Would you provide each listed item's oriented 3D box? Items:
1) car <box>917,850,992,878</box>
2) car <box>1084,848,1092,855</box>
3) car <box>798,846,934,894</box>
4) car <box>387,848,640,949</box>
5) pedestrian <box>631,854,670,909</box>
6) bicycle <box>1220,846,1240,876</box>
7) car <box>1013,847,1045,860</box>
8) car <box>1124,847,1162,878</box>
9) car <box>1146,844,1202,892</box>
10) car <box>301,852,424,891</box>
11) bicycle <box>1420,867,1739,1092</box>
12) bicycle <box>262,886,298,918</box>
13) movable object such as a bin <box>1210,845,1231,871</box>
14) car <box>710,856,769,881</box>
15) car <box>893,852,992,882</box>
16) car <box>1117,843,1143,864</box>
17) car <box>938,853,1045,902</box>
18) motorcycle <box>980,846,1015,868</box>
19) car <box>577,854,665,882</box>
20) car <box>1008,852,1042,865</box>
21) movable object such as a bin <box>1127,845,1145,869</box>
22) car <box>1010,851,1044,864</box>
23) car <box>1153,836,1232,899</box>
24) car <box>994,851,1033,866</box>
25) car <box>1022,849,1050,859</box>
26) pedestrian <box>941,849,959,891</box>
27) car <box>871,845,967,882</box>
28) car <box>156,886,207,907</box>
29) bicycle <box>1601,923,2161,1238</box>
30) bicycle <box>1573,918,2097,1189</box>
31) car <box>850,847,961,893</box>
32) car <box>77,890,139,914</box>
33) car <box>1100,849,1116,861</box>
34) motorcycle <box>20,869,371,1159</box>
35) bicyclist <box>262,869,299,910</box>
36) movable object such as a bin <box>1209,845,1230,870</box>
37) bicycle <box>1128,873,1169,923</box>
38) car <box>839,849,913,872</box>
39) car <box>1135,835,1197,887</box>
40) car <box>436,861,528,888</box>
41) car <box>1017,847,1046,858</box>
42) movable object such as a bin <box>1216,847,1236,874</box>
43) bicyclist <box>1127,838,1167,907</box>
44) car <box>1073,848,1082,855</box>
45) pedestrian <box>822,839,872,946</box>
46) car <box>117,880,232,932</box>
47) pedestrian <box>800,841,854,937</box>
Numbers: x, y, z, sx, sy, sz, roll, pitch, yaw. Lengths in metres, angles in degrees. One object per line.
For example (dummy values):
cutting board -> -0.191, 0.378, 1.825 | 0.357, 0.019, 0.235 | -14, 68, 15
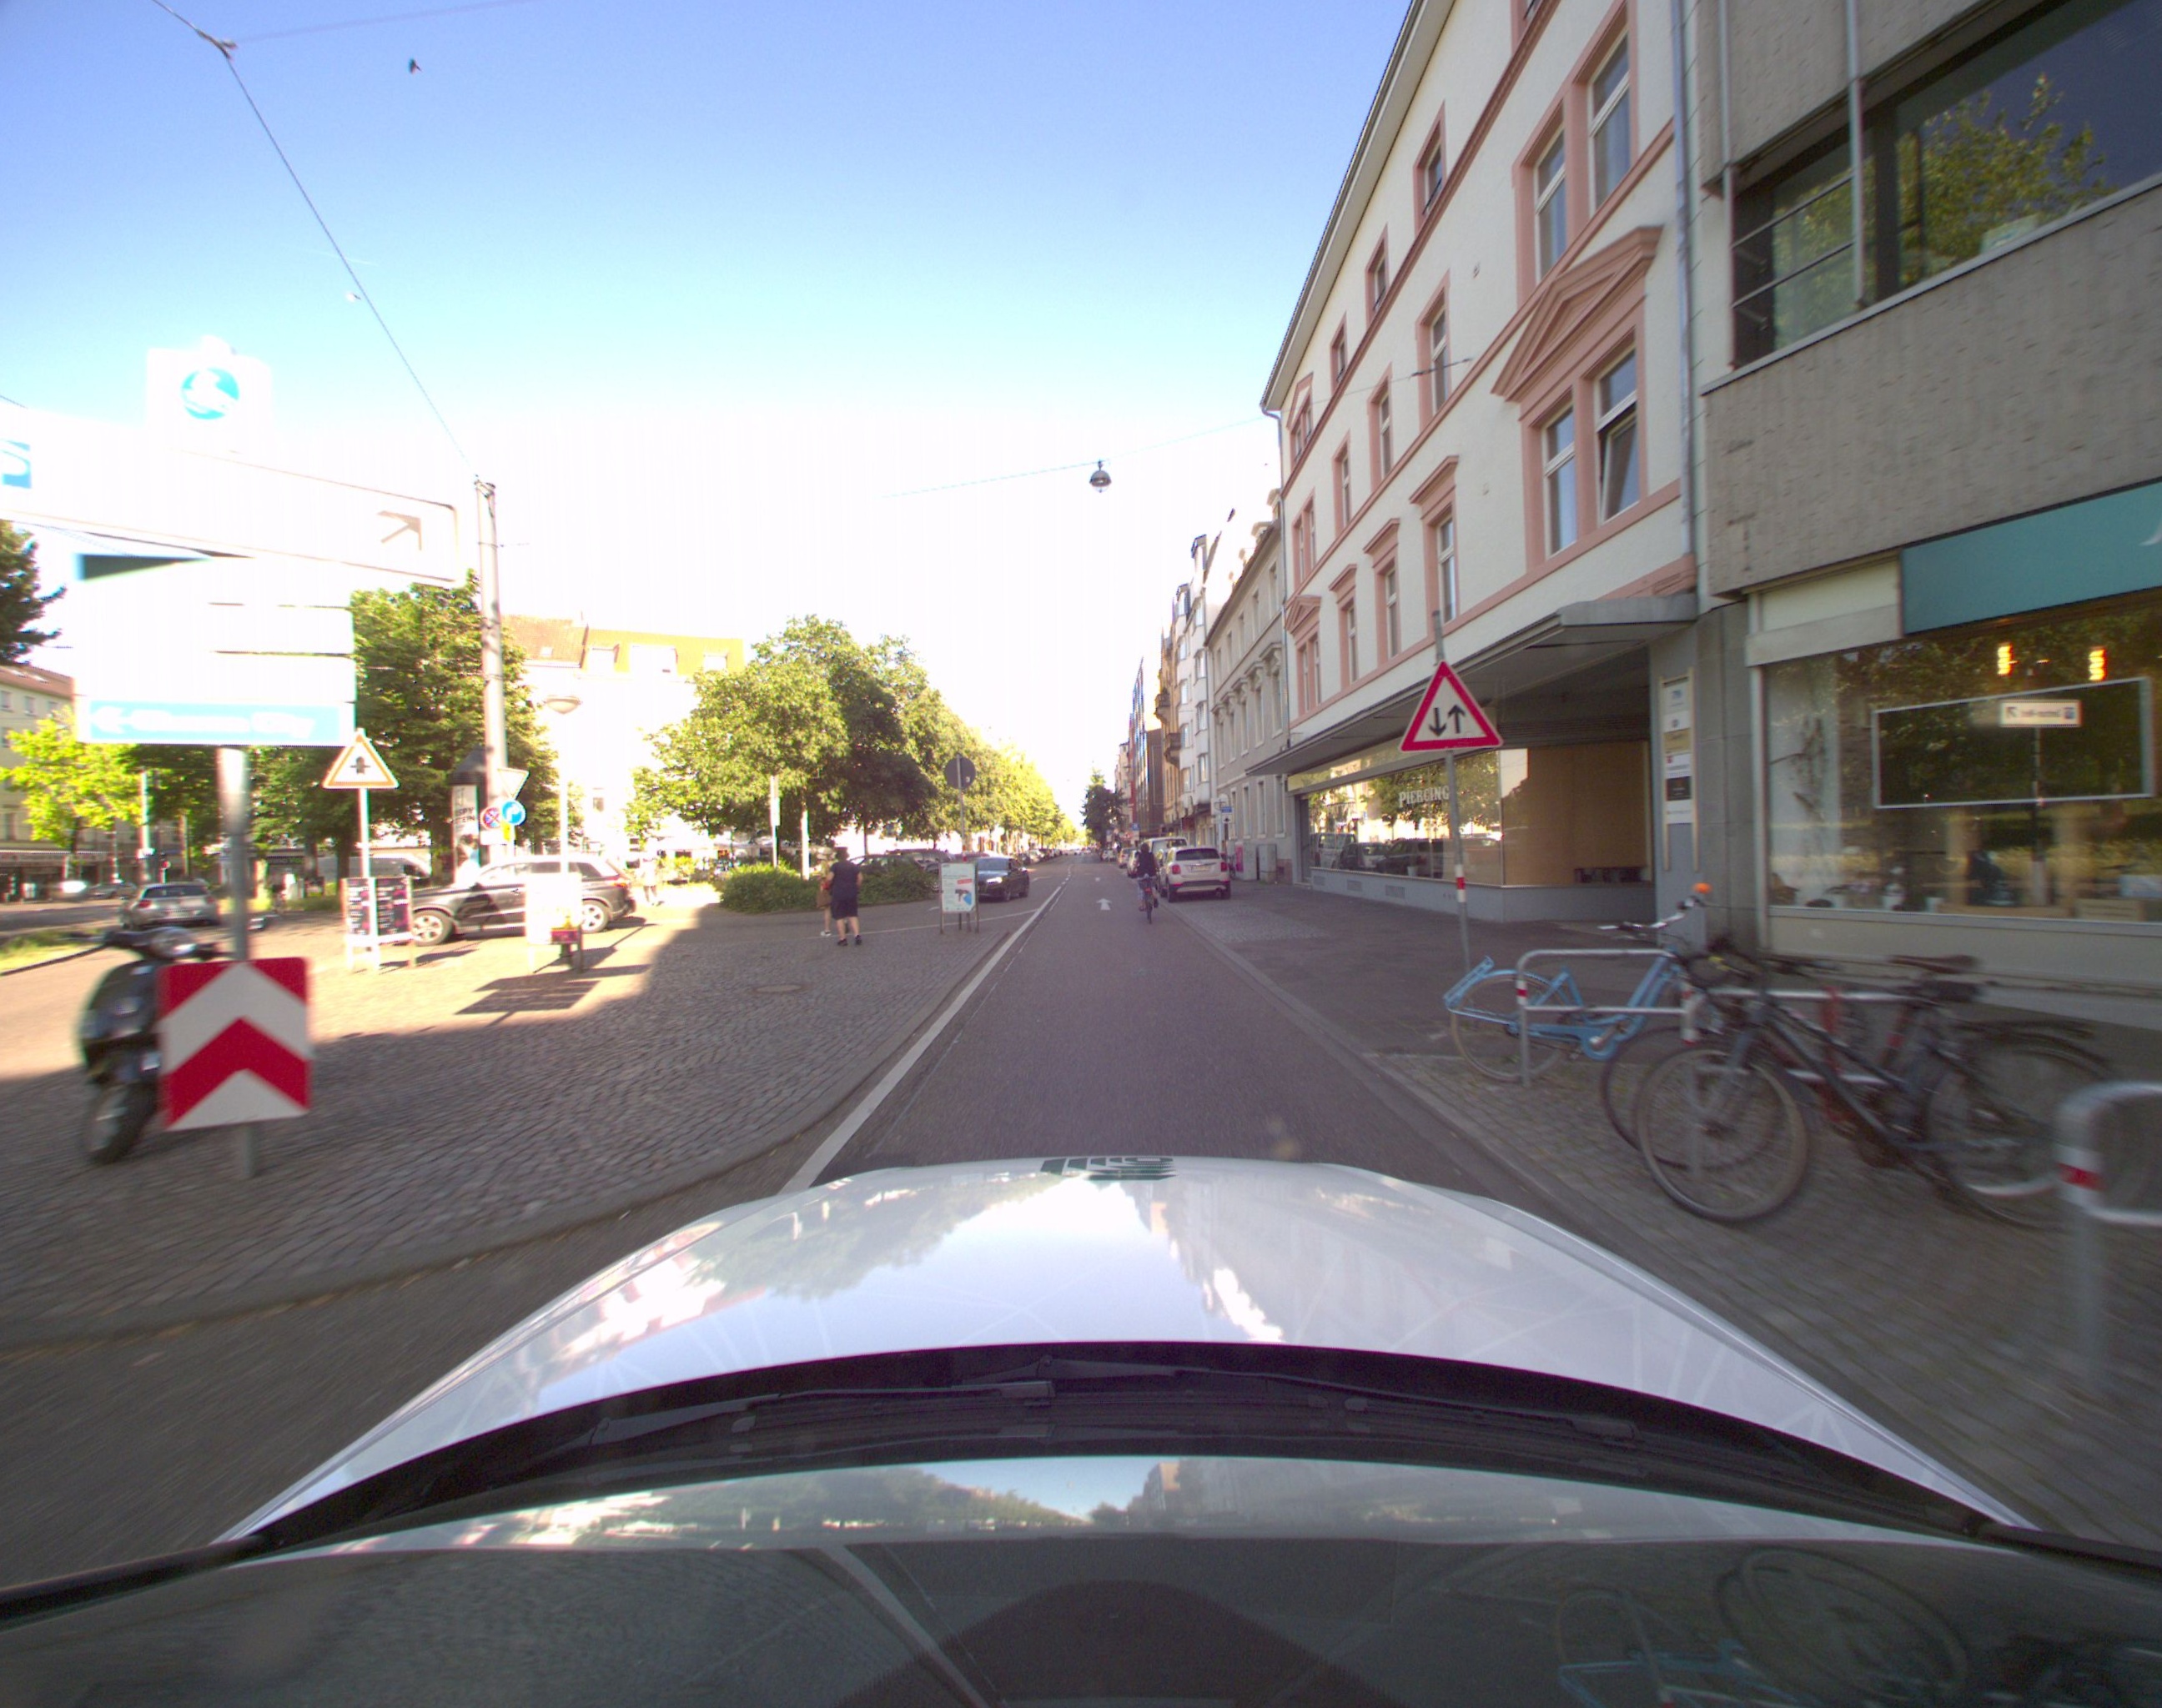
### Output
car -> -7.444, 0.587, 47.868 | 4.012, 1.586, 1.813 | 0, -1, -30
car -> 1.709, -0.580, 205.126 | 1.863, 1.556, 4.001 | 0, 0, 1
car -> -7.137, 0.497, 27.135 | 4.016, 1.470, 1.855 | 0, -1, -35
car -> -10.965, 0.796, 16.087 | 3.883, 1.682, 1.794 | -2, 0, -31
pedestrian -> -12.373, 0.775, 23.406 | 0.774, 1.522, 0.947 | 0, -1, -44
bicycle -> 6.190, 0.288, 33.771 | 0.479, 1.186, 1.728 | -4, -2, 19
car -> -6.948, -0.105, 109.137 | 3.973, 1.674, 2.089 | 0, 0, 1
car -> 3.356, 0.472, 44.375 | 1.713, 1.515, 3.582 | -4, -1, 0
car -> 3.356, 0.487, 30.040 | 1.693, 1.604, 3.757 | -2, -1, 1
car -> -44.374, 1.075, 50.472 | 5.359, 2.314, 1.985 | 0, -1, -23
bicycle -> 3.025, 0.713, 5.135 | 1.608, 1.243, 0.662 | -1, -1, 20
bicycle -> -29.875, 1.762, 30.378 | 2.550, 1.069, 0.817 | -1, -1, 42
movable object such as a bin -> 6.363, 0.180, 37.100 | 0.791, 1.076, 0.661 | -5, -1, 2
car -> -24.816, 1.013, 59.327 | 3.923, 1.771, 1.966 | 0, -1, -23
car -> -7.174, 0.668, 42.221 | 4.853, 1.488, 1.752 | 0, -1, -22
car -> 3.912, -0.023, 65.710 | 1.893, 1.675, 4.824 | 0, 0, 0
car -> -2.749, 0.708, 26.287 | 1.898, 1.417, 4.827 | -1, 0, 13
motorcycle -> -6.467, 0.222, 63.162 | 2.452, 1.604, 1.004 | -2, 0, 18
car -> -34.070, 1.002, 60.555 | 5.605, 2.014, 1.802 | 0, -1, -26
car -> -6.873, 0.550, 99.514 | 3.973, 1.508, 2.000 | 0, 0, 1
movable object such as a bin -> 3.719, 0.201, 55.006 | 1.068, 1.457, 1.495 | -4, 1, 5
car -> -6.697, 0.429, 101.617 | 3.973, 1.508, 2.000 | 0, 0, 1
car -> 3.291, 0.391, 24.915 | 1.739, 1.739, 4.960 | 0, 0, 0
car -> -7.141, 0.451, 86.554 | 3.973, 1.508, 2.000 | 0, 0, 1
car -> -6.617, 0.012, 119.965 | 3.974, 1.508, 2.000 | 0, 0, 0
pedestrian -> -5.315, 0.644, 33.028 | 0.698, 1.649, 0.645 | 0, -1, -6
car -> -7.236, 0.423, 36.625 | 3.978, 1.598, 1.748 | 0, -1, -3
car -> -88.586, 4.168, 80.284 | 2.004, 1.783, 3.966 | 0, 0, -26
bicycle -> 3.092, 0.830, 3.257 | 1.666, 1.062, 0.345 | -1, -1, 16
bicycle -> 3.212, 0.813, 3.624 | 1.690, 1.004, 0.430 | -1, -1, 16
car -> -6.693, 0.566, 30.947 | 3.995, 1.668, 1.989 | 0, 0, -16
car -> -84.593, 4.154, 70.869 | 2.004, 1.783, 3.966 | 0, 0, -26
car -> 3.609, 0.132, 106.830 | 1.985, 1.618, 4.013 | 0, 0, 3
motorcycle -> -5.100, 0.788, 4.882 | 0.749, 1.374, 1.747 | 0, -1, -23
bicyclist -> -29.863, 1.314, 30.390 | 0.815, 1.507, 0.937 | -1, -1, 42
movable object such as a bin -> 6.436, 0.165, 37.805 | 0.835, 1.137, 0.700 | -2, -1, 3
bicycle -> 1.414, 0.903, 17.511 | 0.650, 0.958, 2.697 | 0, 0, 0
car -> -16.004, 0.493, 63.594 | 5.291, 1.800, 2.145 | 0, -1, -27
car -> 3.538, 0.239, 34.809 | 1.988, 2.004, 5.115 | -2, 1, -1
car -> -42.054, 1.409, 57.345 | 4.875, 1.804, 1.895 | 0, -1, -22
car -> -6.974, -0.218, 115.343 | 3.973, 1.508, 1.895 | 0, 0, 1
movable object such as a bin -> 6.379, 0.288, 35.823 | 0.765, 1.161, 0.579 | 0, -1, 3
bicyclist -> 1.426, 0.402, 17.736 | 0.784, 1.453, 1.095 | 0, -1, 0
car -> -0.725, -0.610, 193.194 | 1.986, 1.556, 4.001 | 0, 0, 1
pedestrian -> -3.785, 0.604, 13.166 | 0.640, 1.672, 0.686 | 0, -1, -29
car -> -28.360, 1.564, 25.449 | 4.142, 1.423, 2.013 | -1, -1, 37
pedestrian -> -4.665, 0.631, 14.955 | 0.673, 1.699, 0.795 | 0, -1, -41
